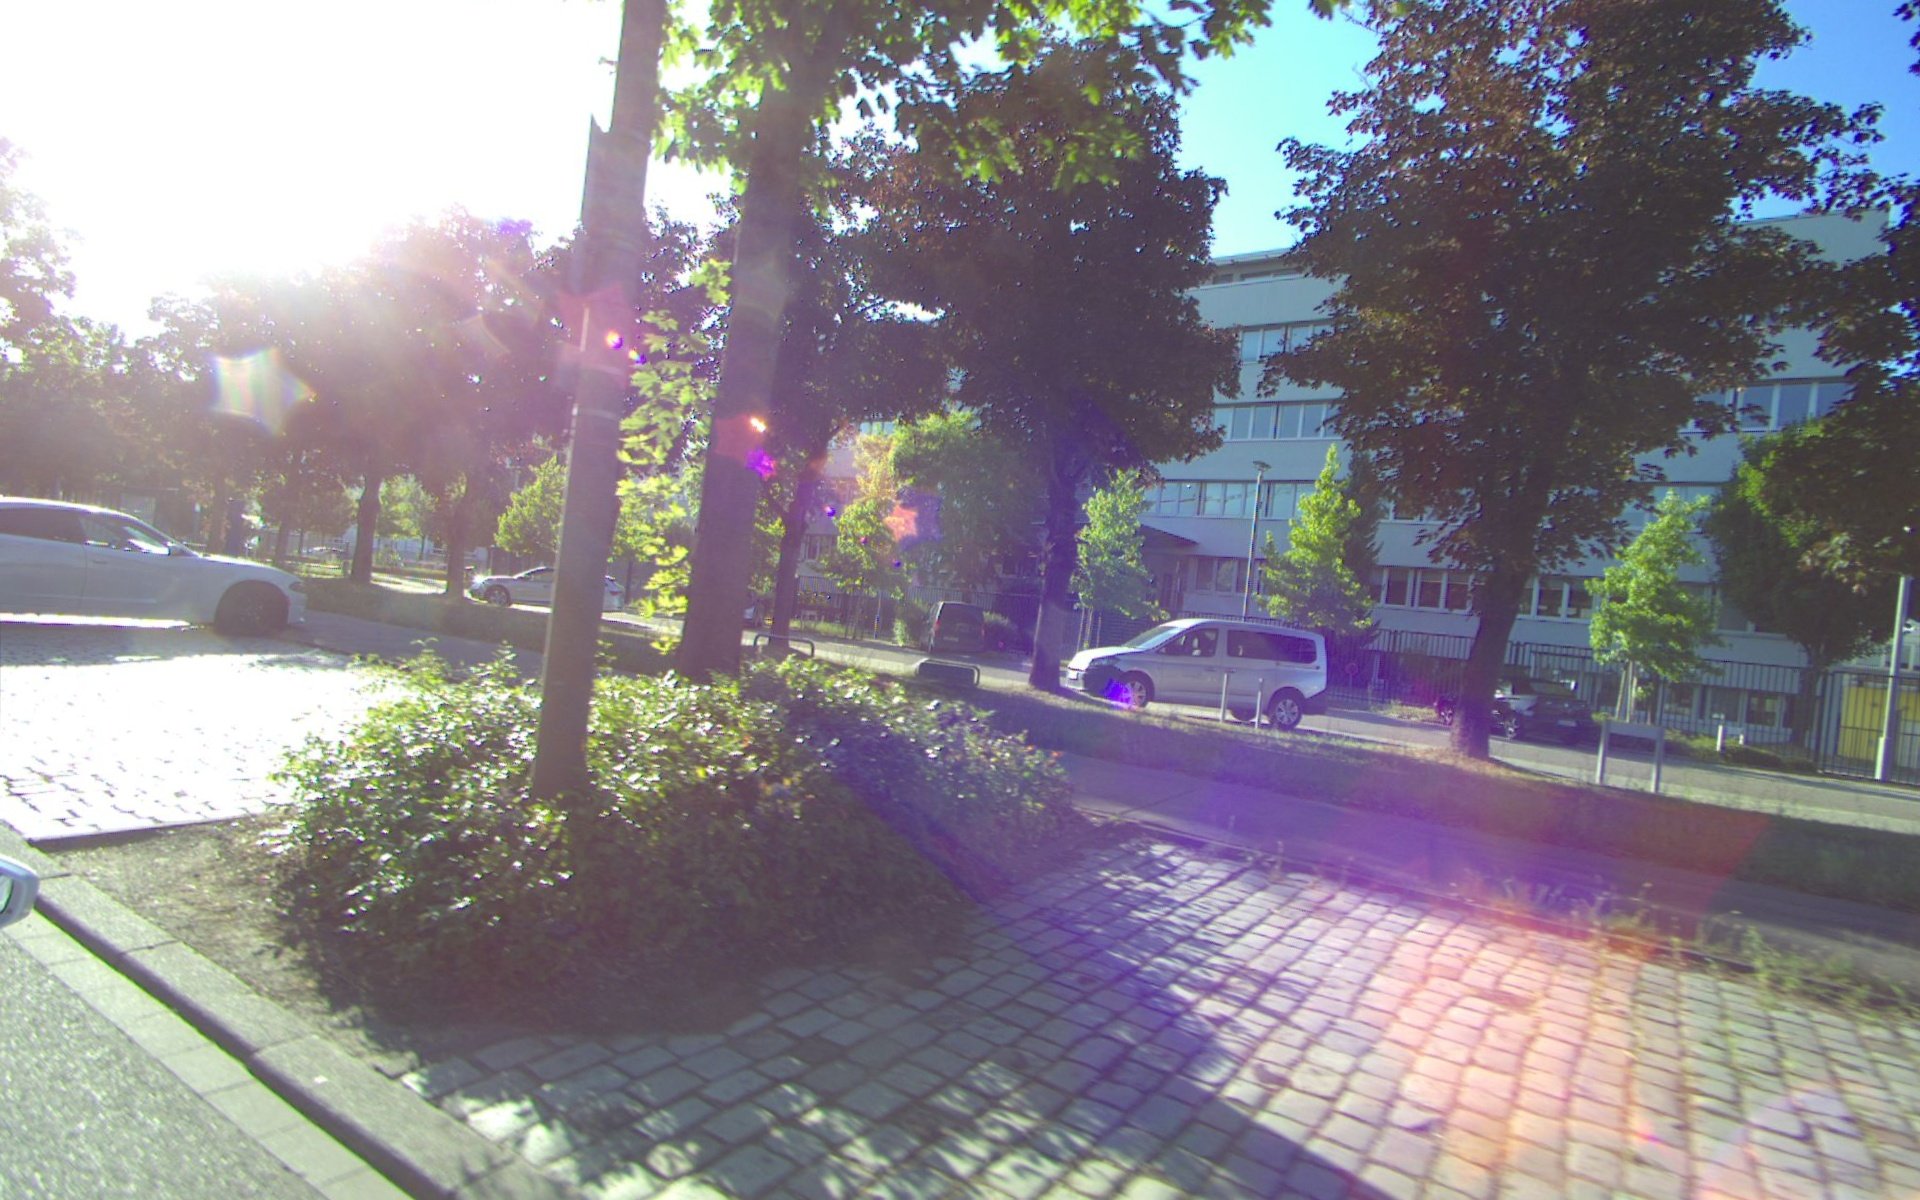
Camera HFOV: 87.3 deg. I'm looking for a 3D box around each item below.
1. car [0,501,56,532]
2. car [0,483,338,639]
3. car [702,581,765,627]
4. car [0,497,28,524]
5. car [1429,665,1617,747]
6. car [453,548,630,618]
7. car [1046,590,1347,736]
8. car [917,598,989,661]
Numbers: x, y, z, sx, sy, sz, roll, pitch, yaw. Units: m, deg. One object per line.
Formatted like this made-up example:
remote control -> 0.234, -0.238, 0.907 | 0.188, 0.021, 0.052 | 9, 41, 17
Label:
car -> -64.526, -5.787, 68.188 | 2.027, 1.726, 4.430 | 6, -1, 36
car -> -11.087, -0.523, 12.551 | 2.122, 1.593, 5.181 | 6, -1, 31
car -> -9.042, 0.169, 40.547 | 1.736, 1.546, 4.301 | 7, 0, -5
car -> -70.459, -6.711, 72.632 | 1.971, 1.726, 4.356 | 7, 0, 38
car -> 13.184, 2.446, 23.872 | 1.775, 1.370, 3.996 | 6, -1, -6
car -> -13.179, -0.525, 32.012 | 4.878, 1.593, 1.993 | 7, 0, -17
car -> 4.285, 1.156, 18.604 | 4.871, 1.955, 1.998 | 8, -2, -9
car -> -0.314, 0.921, 33.945 | 1.737, 1.771, 4.490 | 7, 0, -7
